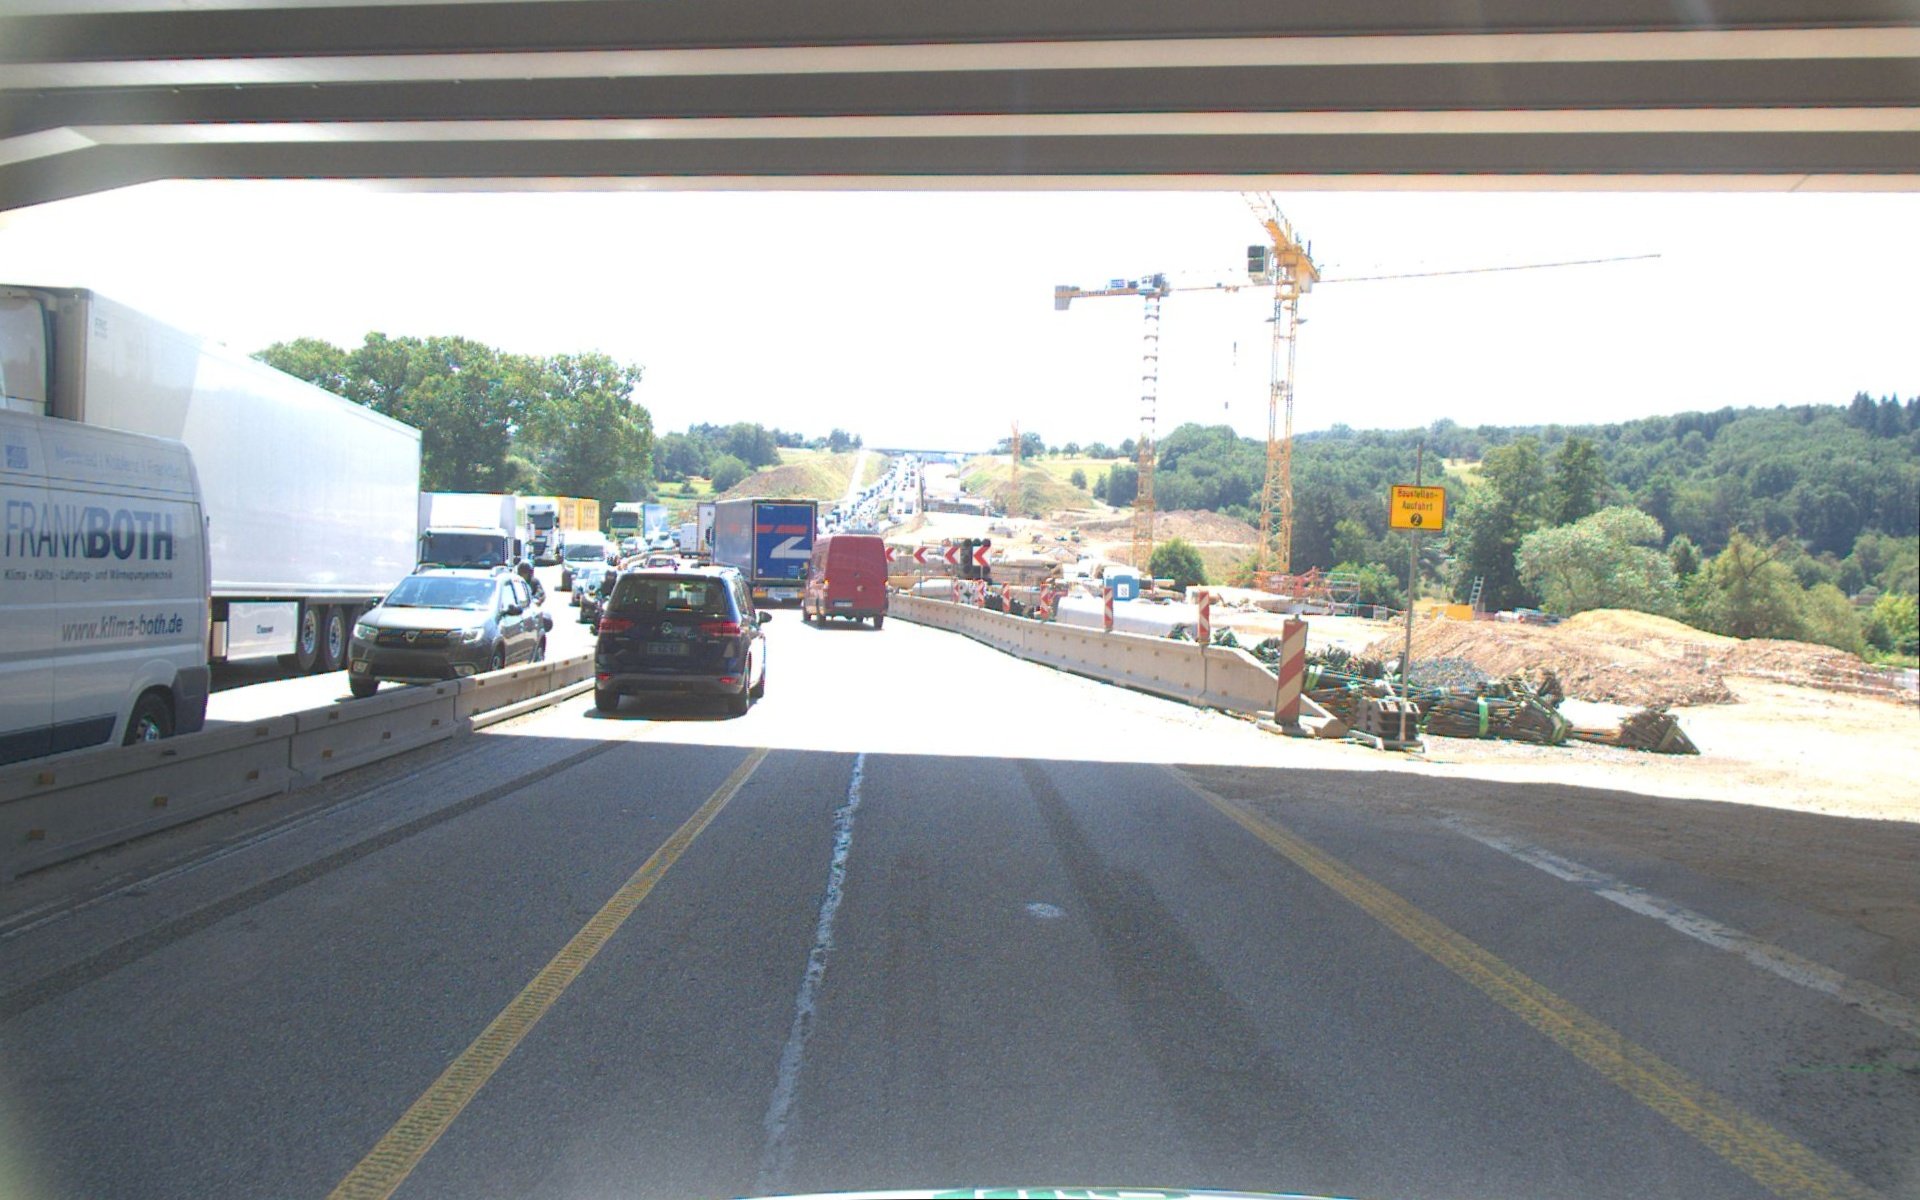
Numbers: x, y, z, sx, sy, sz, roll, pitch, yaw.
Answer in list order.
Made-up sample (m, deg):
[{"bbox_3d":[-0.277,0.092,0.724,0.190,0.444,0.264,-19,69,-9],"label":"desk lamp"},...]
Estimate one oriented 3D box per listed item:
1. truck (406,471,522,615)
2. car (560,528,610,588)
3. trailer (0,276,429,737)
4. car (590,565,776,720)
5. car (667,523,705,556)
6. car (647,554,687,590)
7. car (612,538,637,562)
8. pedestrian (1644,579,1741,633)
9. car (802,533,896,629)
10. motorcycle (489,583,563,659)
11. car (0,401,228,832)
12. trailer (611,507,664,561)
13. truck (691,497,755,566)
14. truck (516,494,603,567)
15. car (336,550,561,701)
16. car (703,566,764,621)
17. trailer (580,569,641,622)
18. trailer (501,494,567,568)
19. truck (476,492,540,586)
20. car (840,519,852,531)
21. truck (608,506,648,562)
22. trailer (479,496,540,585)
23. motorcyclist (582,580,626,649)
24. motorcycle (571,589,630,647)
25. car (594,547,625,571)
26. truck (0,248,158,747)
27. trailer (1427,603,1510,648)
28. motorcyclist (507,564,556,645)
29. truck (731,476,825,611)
[{"bbox_3d":[-13.903,-1.535,46.815,2.771,3.637,8.464,2,1,-15],"label":"truck"},{"bbox_3d":[-16.974,-1.845,74.746,2.036,2.547,6.461,1,0,-14],"label":"car"},{"bbox_3d":[-10.187,-0.980,21.847,2.821,4.110,14.342,3,0,-5],"label":"trailer"},{"bbox_3d":[-3.286,0.435,20.372,1.699,1.664,4.388,1,1,-2],"label":"car"},{"bbox_3d":[-20.801,-4.637,125.655,2.219,2.395,5.158,2,3,-3],"label":"car"},{"bbox_3d":[-14.045,-1.354,79.126,1.801,1.663,4.096,1,1,-11],"label":"car"},{"bbox_3d":[-23.807,-3.568,117.343,1.608,1.511,3.989,1,3,-13],"label":"car"},{"bbox_3d":[29.029,0.269,65.670,1.954,2.049,3.997,1,-1,-3],"label":"pedestrian"},{"bbox_3d":[-3.400,-0.607,49.657,2.111,2.656,5.424,1,1,-11],"label":"car"},{"bbox_3d":[-7.852,0.358,30.061,0.688,1.301,2.734,1,0,-2],"label":"motorcycle"},{"bbox_3d":[-6.235,0.074,9.036,1.941,2.371,6.055,1,0,-2],"label":"car"},{"bbox_3d":[-27.853,-5.649,143.406,2.595,4.366,13.301,3,2,-4],"label":"trailer"},{"bbox_3d":[-14.652,-4.263,102.901,3.118,4.058,6.741,2,2,-2],"label":"truck"},{"bbox_3d":[-26.400,-4.567,109.798,2.751,4.417,15.368,2,2,-3],"label":"truck"},{"bbox_3d":[-6.376,0.265,21.074,1.711,1.700,4.077,1,1,-2],"label":"car"},{"bbox_3d":[-7.318,-0.237,53.187,1.800,1.664,4.380,1,1,-10],"label":"car"},{"bbox_3d":[-10.132,-0.138,48.077,1.635,1.456,3.989,1,0,-11],"label":"trailer"},{"bbox_3d":[-25.863,-4.153,100.566,2.808,4.303,5.217,1,1,-3],"label":"trailer"},{"bbox_3d":[-19.821,-2.646,72.722,2.491,3.888,4.932,2,1,-14],"label":"truck"},{"bbox_3d":[-17.273,-11.357,250.845,1.585,1.729,3.889,2,2,-3],"label":"car"},{"bbox_3d":[-27.359,-5.433,136.592,2.574,4.344,4.727,3,1,-6],"label":"truck"},{"bbox_3d":[-21.353,-2.765,78.737,2.483,3.855,10.207,2,1,-14],"label":"trailer"},{"bbox_3d":[-7.667,0.315,35.652,0.794,1.441,0.742,1,-1,-4],"label":"motorcyclist"},{"bbox_3d":[-7.632,0.362,35.259,0.816,1.170,2.788,1,0,-4],"label":"motorcycle"},{"bbox_3d":[-21.814,-2.564,103.086,1.646,1.385,4.494,2,2,-9],"label":"car"},{"bbox_3d":[-9.458,-0.900,14.403,2.819,4.121,4.878,3,0,-7],"label":"truck"},{"bbox_3d":[18.953,0.924,61.800,1.592,1.512,3.822,2,1,-5],"label":"trailer"},{"bbox_3d":[-7.841,0.088,30.304,0.704,1.441,0.742,1,-1,-4],"label":"motorcyclist"},{"bbox_3d":[-7.382,-2.286,66.246,2.894,5.030,6.721,1,2,-13],"label":"truck"}]
